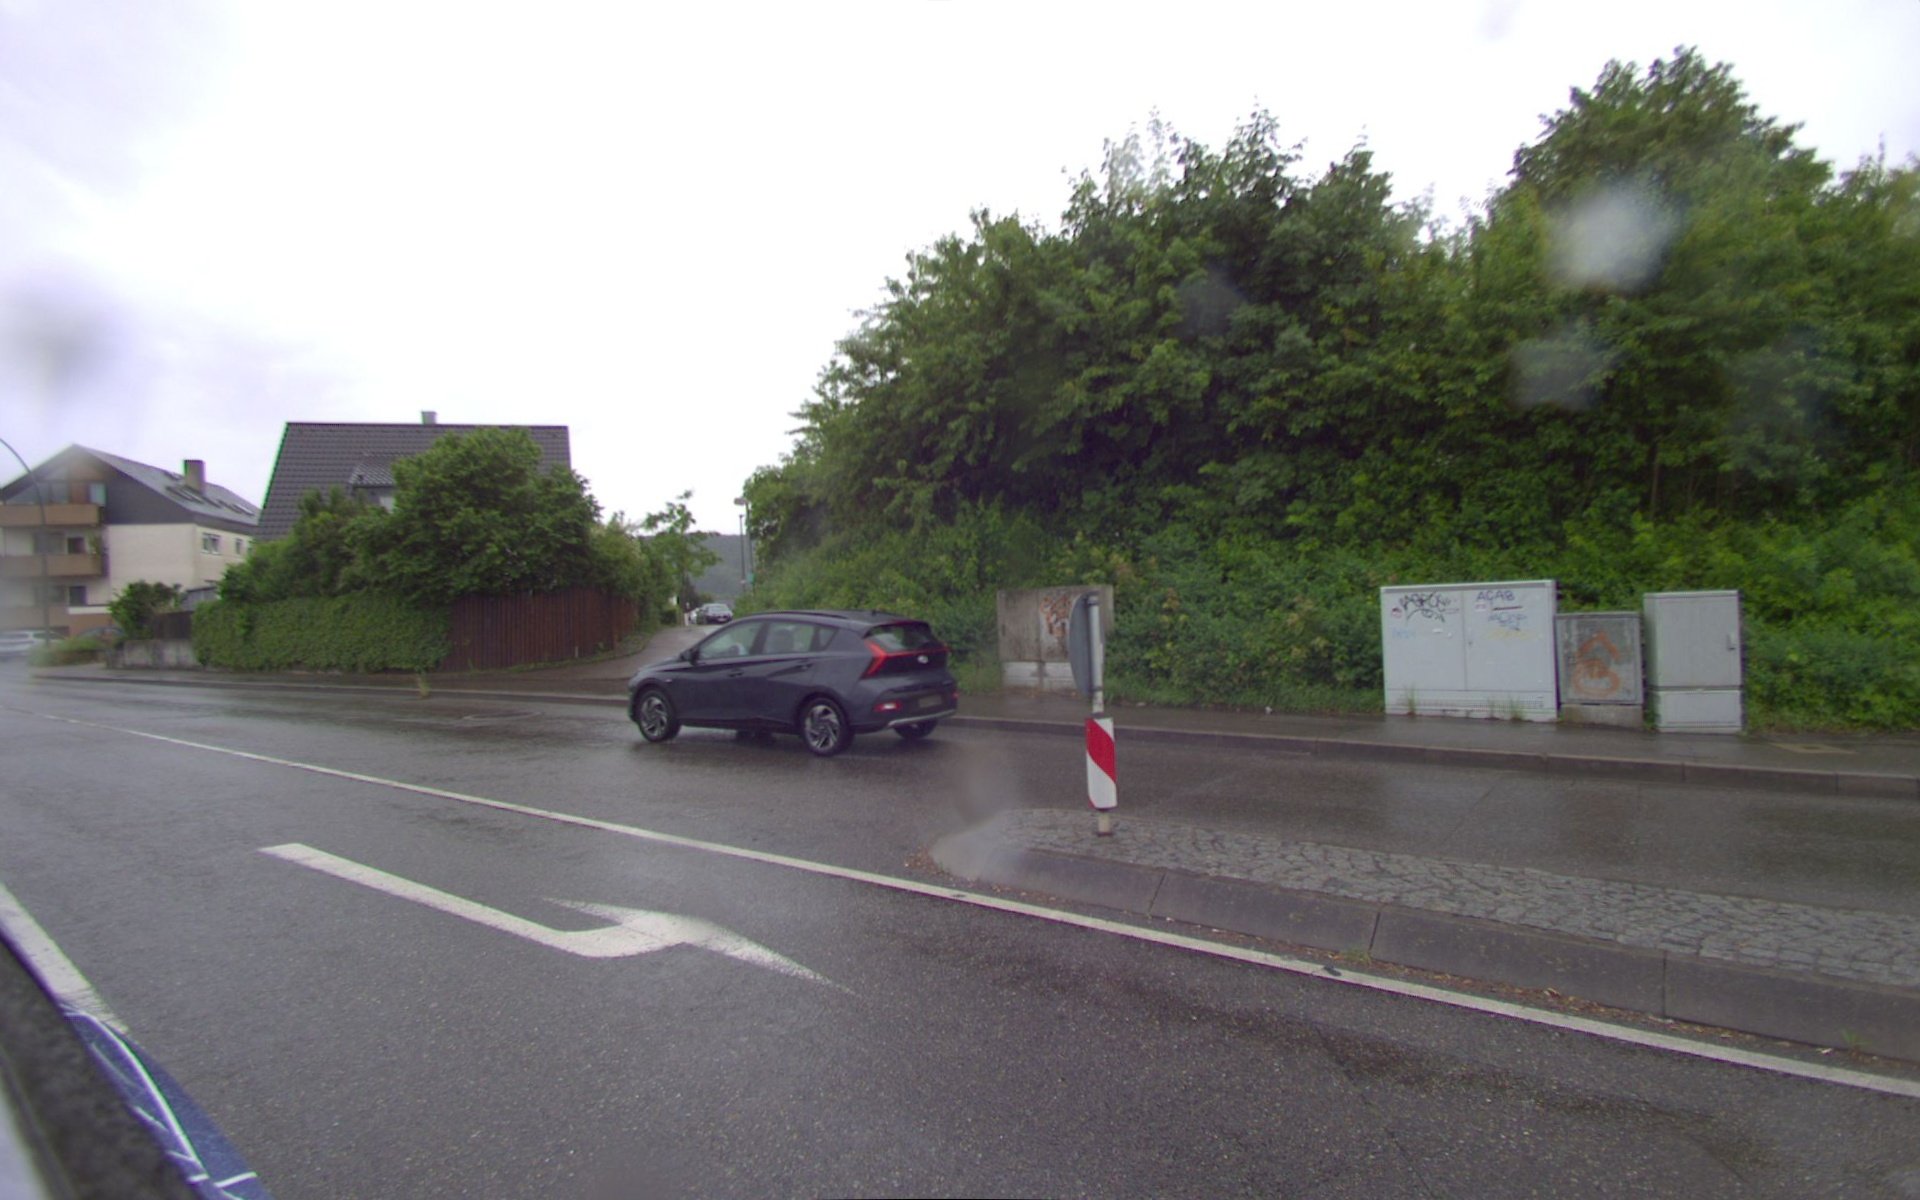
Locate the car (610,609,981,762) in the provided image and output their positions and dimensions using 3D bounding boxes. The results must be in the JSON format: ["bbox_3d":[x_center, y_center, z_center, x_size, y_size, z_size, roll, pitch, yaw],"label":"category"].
[{"bbox_3d":[-1.927,0.853,11.401,4.095,1.449,1.651,-1,-2,33],"label":"car"}]

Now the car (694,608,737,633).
[{"bbox_3d":[-15.959,1.346,65.903,1.867,1.494,4.013,-1,-1,-26],"label":"car"}]

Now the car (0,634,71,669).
[{"bbox_3d":[-46.716,2.548,50.757,1.638,1.558,4.011,-1,0,-15],"label":"car"}]

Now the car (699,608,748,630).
[{"bbox_3d":[-17.194,1.351,73.416,1.967,1.497,4.009,-1,0,-37],"label":"car"}]
